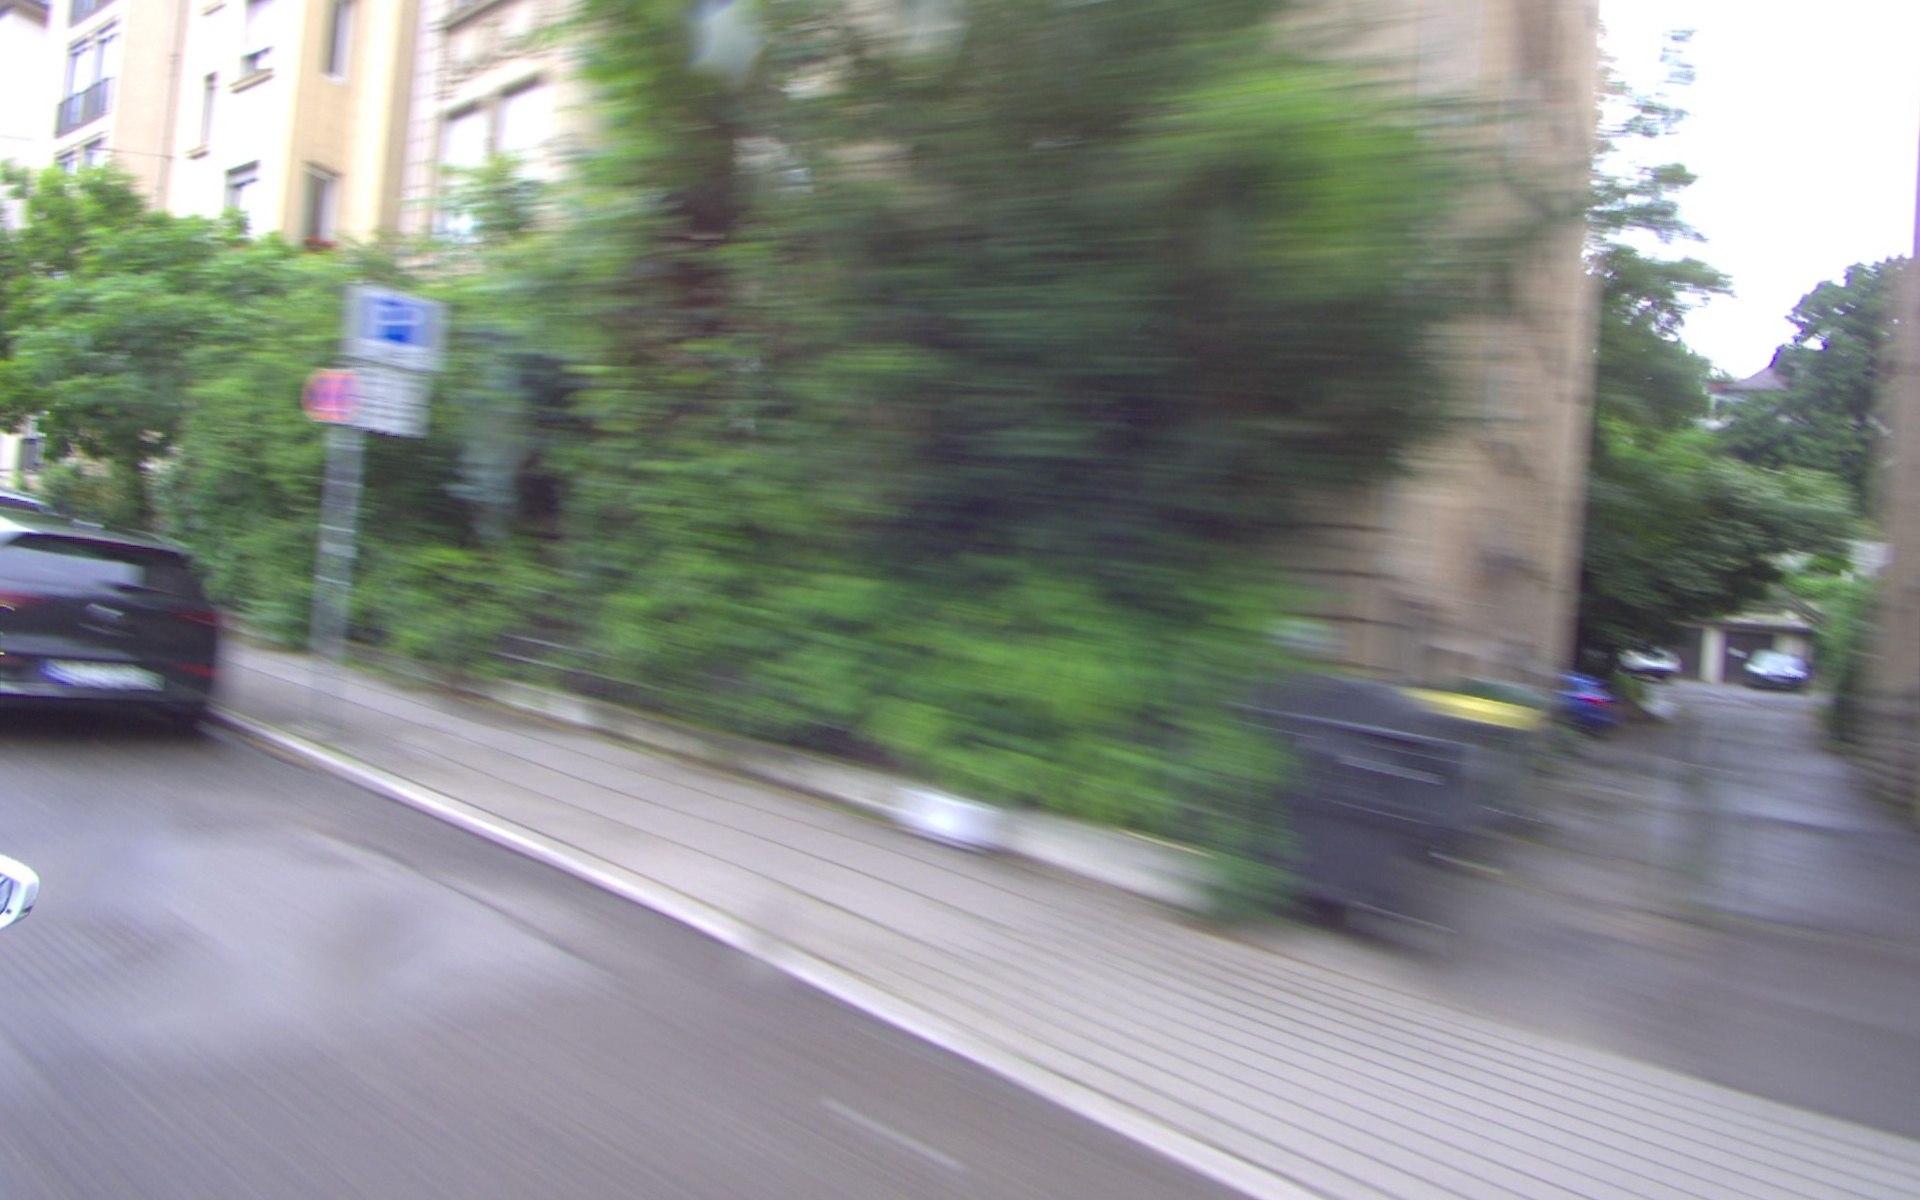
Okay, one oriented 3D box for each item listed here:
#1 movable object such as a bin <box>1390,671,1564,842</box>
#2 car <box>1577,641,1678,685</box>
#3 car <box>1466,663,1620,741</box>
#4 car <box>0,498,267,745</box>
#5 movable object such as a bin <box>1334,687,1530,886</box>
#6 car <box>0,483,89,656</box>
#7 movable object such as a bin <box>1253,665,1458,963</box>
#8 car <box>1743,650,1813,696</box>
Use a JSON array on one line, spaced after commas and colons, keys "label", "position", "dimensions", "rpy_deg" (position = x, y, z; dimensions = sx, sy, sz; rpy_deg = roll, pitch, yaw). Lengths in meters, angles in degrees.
[{"label": "movable object such as a bin", "position": [5.293, 1.528, 10.281], "dimensions": [1.287, 1.443, 1.230], "rpy_deg": [6, 1, 36]}, {"label": "car", "position": [26.131, 2.444, 39.485], "dimensions": [3.112, 1.223, 1.402], "rpy_deg": [8, 2, 32]}, {"label": "car", "position": [14.591, 2.508, 25.274], "dimensions": [3.110, 1.394, 1.443], "rpy_deg": [8, 2, 32]}, {"label": "car", "position": [-7.129, 0.002, 7.599], "dimensions": [3.937, 1.407, 1.768], "rpy_deg": [8, -1, 35]}, {"label": "movable object such as a bin", "position": [3.902, 1.451, 8.283], "dimensions": [1.150, 1.325, 1.217], "rpy_deg": [6, 1, 36]}, {"label": "car", "position": [-11.021, -0.505, 10.388], "dimensions": [4.217, 1.623, 1.768], "rpy_deg": [6, 0, 31]}, {"label": "movable object such as a bin", "position": [2.358, 1.153, 5.915], "dimensions": [0.808, 1.421, 1.226], "rpy_deg": [8, 2, 28]}, {"label": "car", "position": [31.998, 2.866, 39.300], "dimensions": [1.650, 1.468, 3.976], "rpy_deg": [9, 2, 44]}]
